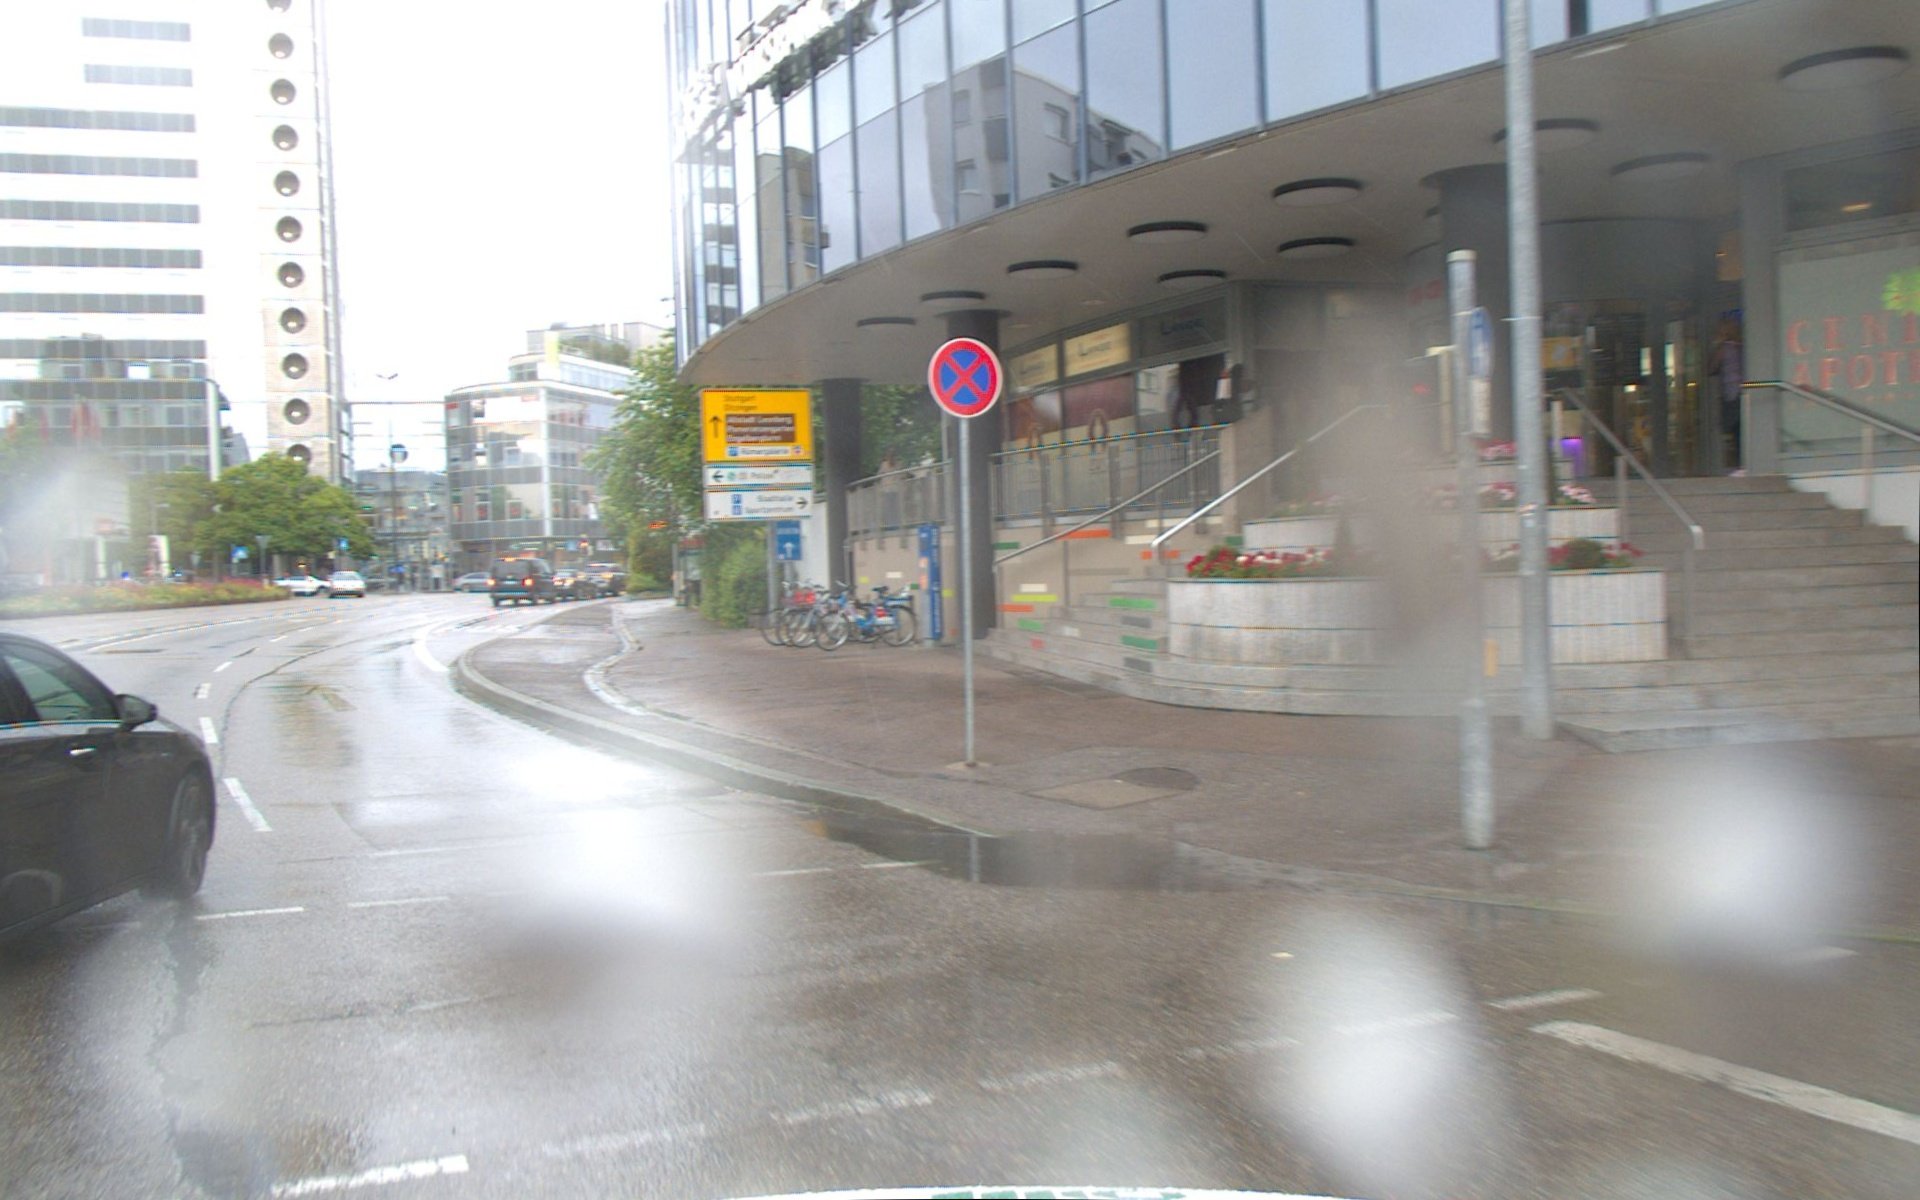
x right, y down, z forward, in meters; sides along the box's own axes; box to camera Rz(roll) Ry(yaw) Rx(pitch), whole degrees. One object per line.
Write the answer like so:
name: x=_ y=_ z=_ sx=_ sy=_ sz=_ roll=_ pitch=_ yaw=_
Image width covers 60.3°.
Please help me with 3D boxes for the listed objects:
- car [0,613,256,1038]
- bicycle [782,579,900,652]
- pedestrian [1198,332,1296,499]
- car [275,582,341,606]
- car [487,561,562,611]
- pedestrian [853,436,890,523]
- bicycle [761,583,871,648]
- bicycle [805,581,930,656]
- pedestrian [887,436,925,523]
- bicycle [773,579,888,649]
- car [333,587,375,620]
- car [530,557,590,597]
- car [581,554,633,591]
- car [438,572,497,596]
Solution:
car: x=-4.399 y=0.846 z=6.843 sx=1.631 sy=1.507 sz=4.087 roll=-2 pitch=0 yaw=-7
bicycle: x=-2.006 y=0.254 z=27.928 sx=1.821 sy=1.060 sz=0.644 roll=-5 pitch=1 yaw=-18
pedestrian: x=3.654 y=-2.326 z=21.082 sx=0.937 sy=2.048 sz=0.826 roll=-2 pitch=2 yaw=-25
car: x=-43.196 y=-0.397 z=109.720 sx=3.927 sy=1.408 sz=1.719 roll=-2 pitch=2 yaw=-19
car: x=-18.444 y=-0.638 z=70.201 sx=2.001 sy=1.928 sz=4.139 roll=-2 pitch=2 yaw=0
pedestrian: x=-1.797 y=-2.445 z=33.682 sx=0.641 sy=1.743 sz=0.598 roll=-1 pitch=2 yaw=-13
bicycle: x=-2.541 y=0.266 z=29.281 sx=1.819 sy=0.967 sz=0.534 roll=-5 pitch=3 yaw=-15
bicycle: x=-1.474 y=0.283 z=26.349 sx=1.821 sy=1.040 sz=0.629 roll=-4 pitch=1 yaw=-18
pedestrian: x=-1.104 y=-2.459 z=33.762 sx=0.641 sy=1.743 sz=0.598 roll=-1 pitch=2 yaw=-13
bicycle: x=-2.241 y=0.232 z=28.646 sx=1.821 sy=1.051 sz=0.626 roll=-5 pitch=1 yaw=-18
car: x=-33.648 y=0.190 z=91.886 sx=1.662 sy=1.660 sz=3.502 roll=-2 pitch=2 yaw=-12
car: x=-18.721 y=-1.103 z=77.540 sx=1.848 sy=1.701 sz=4.000 roll=-2 pitch=2 yaw=-1
car: x=-17.941 y=-1.418 z=84.233 sx=1.872 sy=1.754 sz=3.809 roll=-2 pitch=2 yaw=-1
car: x=-34.368 y=-1.134 z=115.424 sx=3.819 sy=1.544 sz=1.777 roll=-2 pitch=2 yaw=-18
